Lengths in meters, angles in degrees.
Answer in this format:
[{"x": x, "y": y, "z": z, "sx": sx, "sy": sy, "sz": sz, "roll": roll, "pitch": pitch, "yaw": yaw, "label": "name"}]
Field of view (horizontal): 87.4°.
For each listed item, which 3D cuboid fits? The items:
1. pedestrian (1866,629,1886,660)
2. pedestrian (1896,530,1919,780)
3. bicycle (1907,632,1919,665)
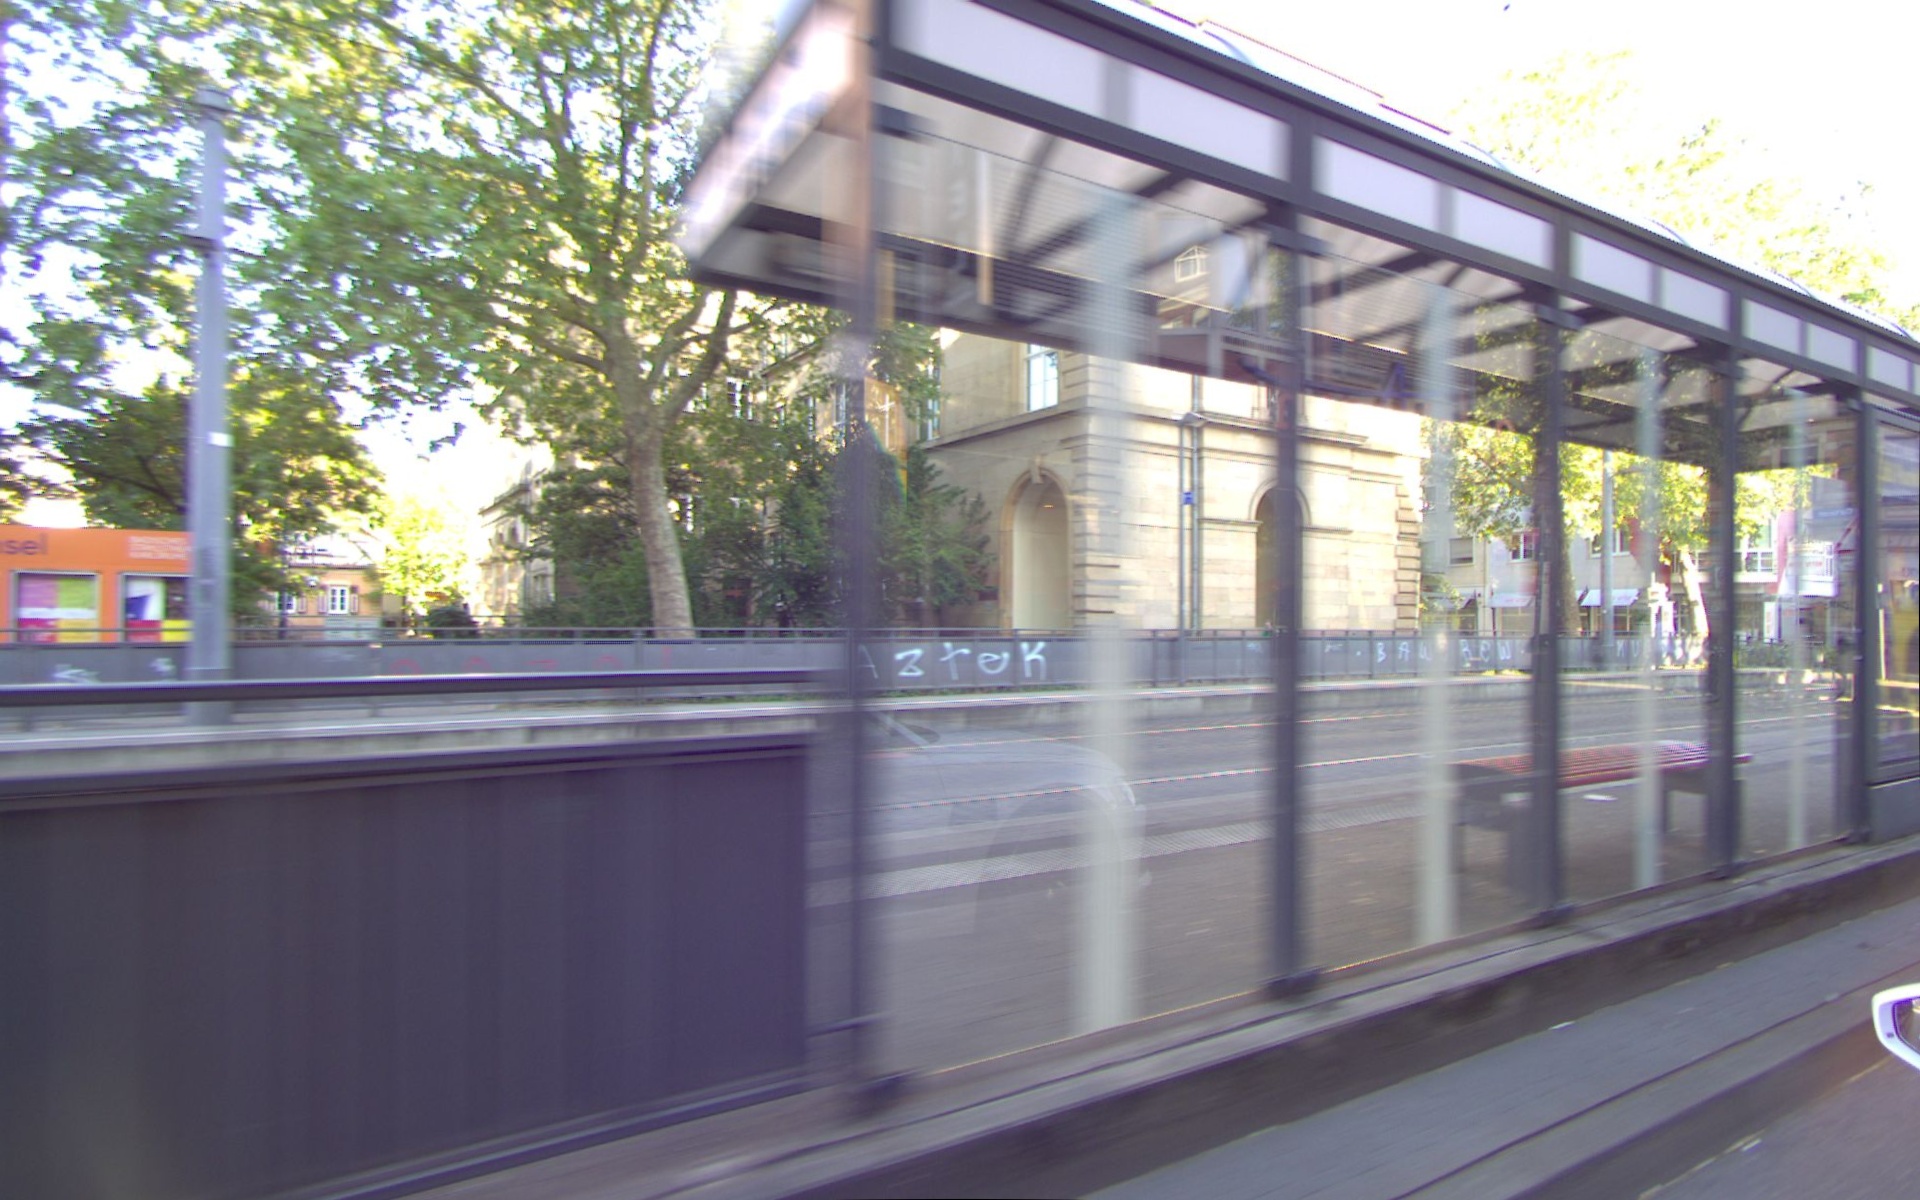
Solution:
[{"x": 51.313, "y": 2.470, "z": 56.277, "sx": 0.609, "sy": 1.734, "sz": 0.738, "roll": 1, "pitch": -1, "yaw": -34, "label": "pedestrian"}, {"x": 7.101, "y": 0.385, "z": 7.023, "sx": 0.840, "sy": 1.734, "sz": 0.619, "roll": 1, "pitch": -1, "yaw": -31, "label": "pedestrian"}, {"x": 32.592, "y": 1.646, "z": 33.127, "sx": 1.867, "sy": 1.092, "sz": 0.582, "roll": 3, "pitch": 1, "yaw": 35, "label": "bicycle"}]
